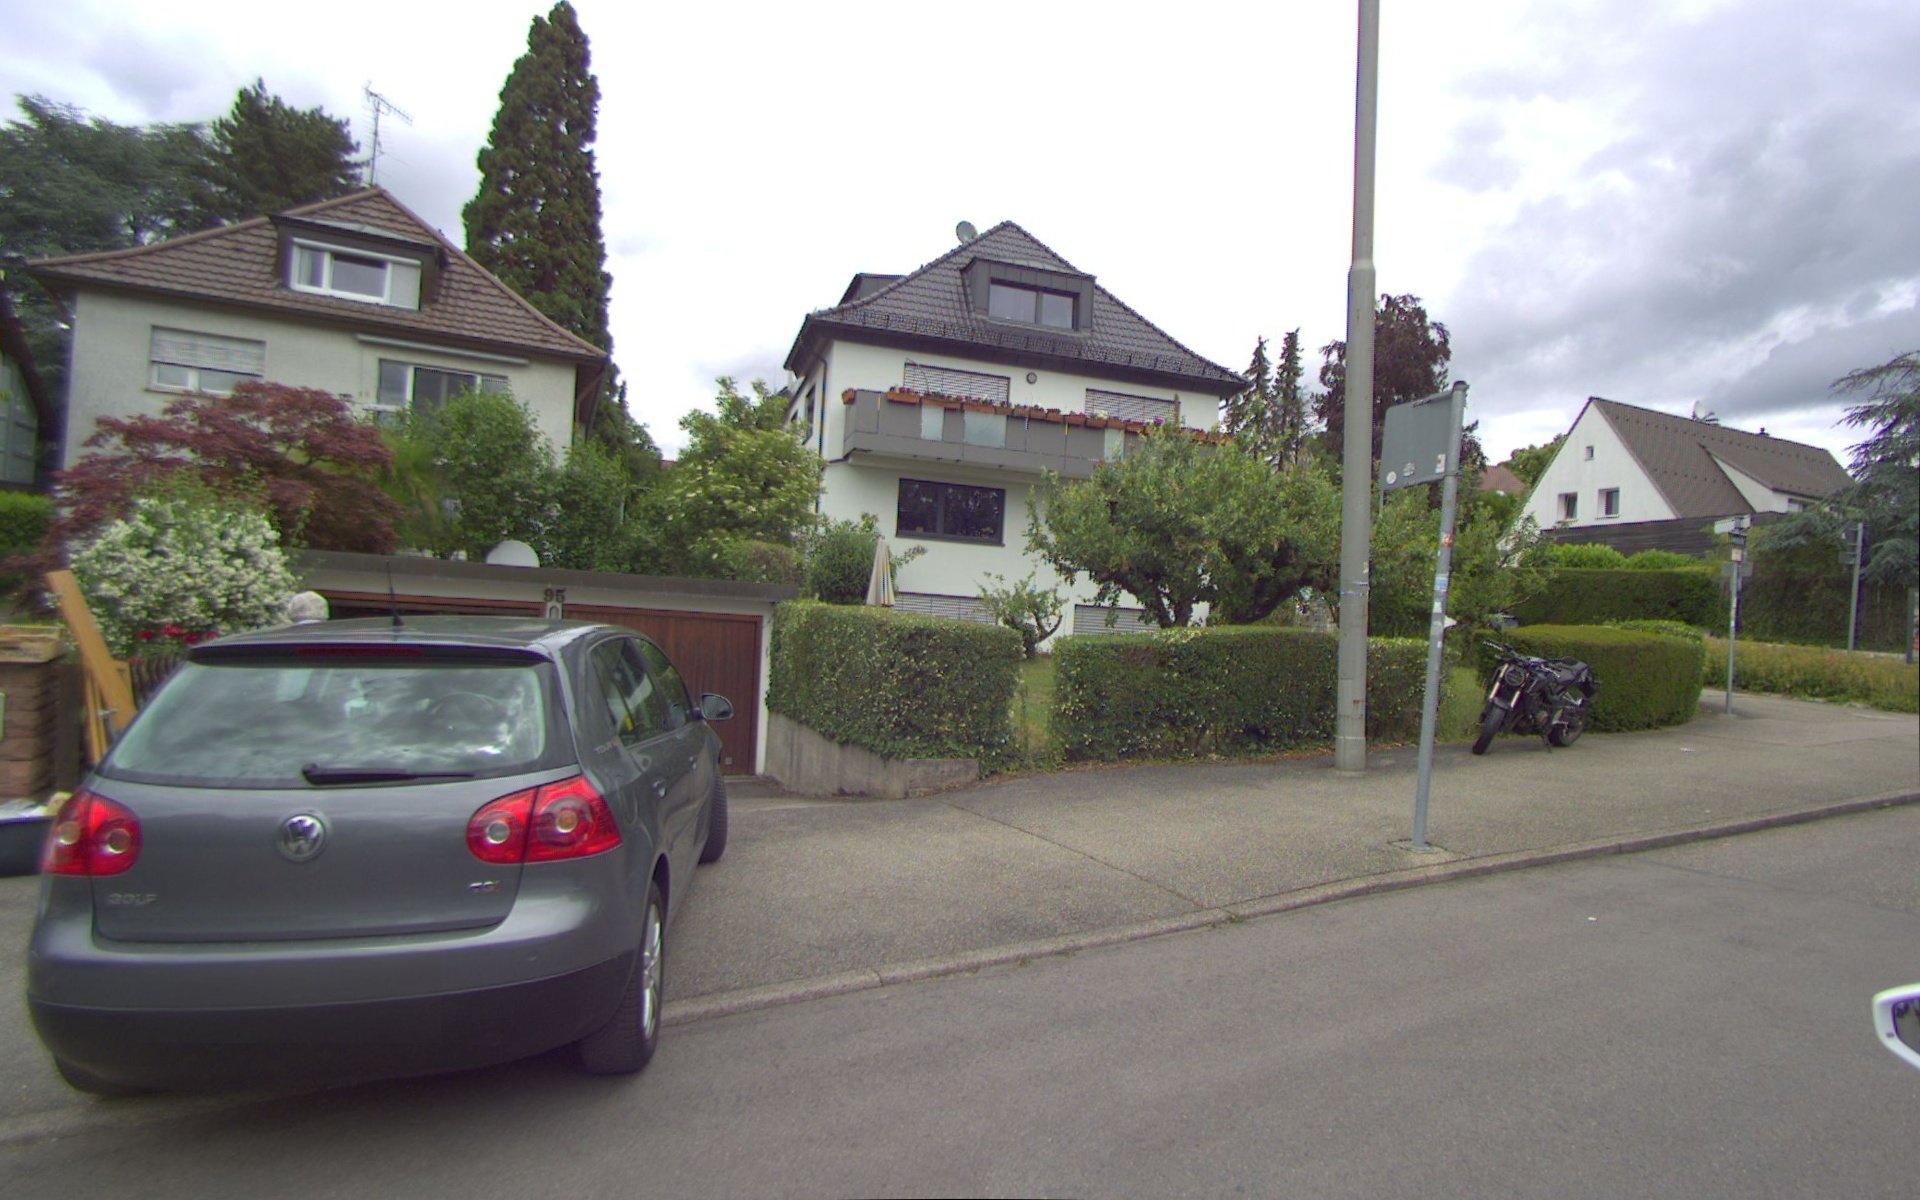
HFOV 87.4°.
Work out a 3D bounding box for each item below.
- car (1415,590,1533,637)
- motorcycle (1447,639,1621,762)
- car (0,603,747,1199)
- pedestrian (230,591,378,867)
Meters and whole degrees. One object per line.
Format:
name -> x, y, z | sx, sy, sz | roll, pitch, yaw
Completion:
car -> 19.978, 0.492, 39.237 | 1.830, 1.483, 3.988 | 5, 1, -14
motorcycle -> 6.121, 1.010, 10.664 | 2.124, 1.155, 0.768 | 1, -1, -35
car -> -1.965, 0.793, 4.534 | 1.706, 1.482, 3.994 | 1, 0, -9
pedestrian -> -4.553, 0.862, 7.013 | 0.602, 1.829, 0.645 | 2, 0, -7
